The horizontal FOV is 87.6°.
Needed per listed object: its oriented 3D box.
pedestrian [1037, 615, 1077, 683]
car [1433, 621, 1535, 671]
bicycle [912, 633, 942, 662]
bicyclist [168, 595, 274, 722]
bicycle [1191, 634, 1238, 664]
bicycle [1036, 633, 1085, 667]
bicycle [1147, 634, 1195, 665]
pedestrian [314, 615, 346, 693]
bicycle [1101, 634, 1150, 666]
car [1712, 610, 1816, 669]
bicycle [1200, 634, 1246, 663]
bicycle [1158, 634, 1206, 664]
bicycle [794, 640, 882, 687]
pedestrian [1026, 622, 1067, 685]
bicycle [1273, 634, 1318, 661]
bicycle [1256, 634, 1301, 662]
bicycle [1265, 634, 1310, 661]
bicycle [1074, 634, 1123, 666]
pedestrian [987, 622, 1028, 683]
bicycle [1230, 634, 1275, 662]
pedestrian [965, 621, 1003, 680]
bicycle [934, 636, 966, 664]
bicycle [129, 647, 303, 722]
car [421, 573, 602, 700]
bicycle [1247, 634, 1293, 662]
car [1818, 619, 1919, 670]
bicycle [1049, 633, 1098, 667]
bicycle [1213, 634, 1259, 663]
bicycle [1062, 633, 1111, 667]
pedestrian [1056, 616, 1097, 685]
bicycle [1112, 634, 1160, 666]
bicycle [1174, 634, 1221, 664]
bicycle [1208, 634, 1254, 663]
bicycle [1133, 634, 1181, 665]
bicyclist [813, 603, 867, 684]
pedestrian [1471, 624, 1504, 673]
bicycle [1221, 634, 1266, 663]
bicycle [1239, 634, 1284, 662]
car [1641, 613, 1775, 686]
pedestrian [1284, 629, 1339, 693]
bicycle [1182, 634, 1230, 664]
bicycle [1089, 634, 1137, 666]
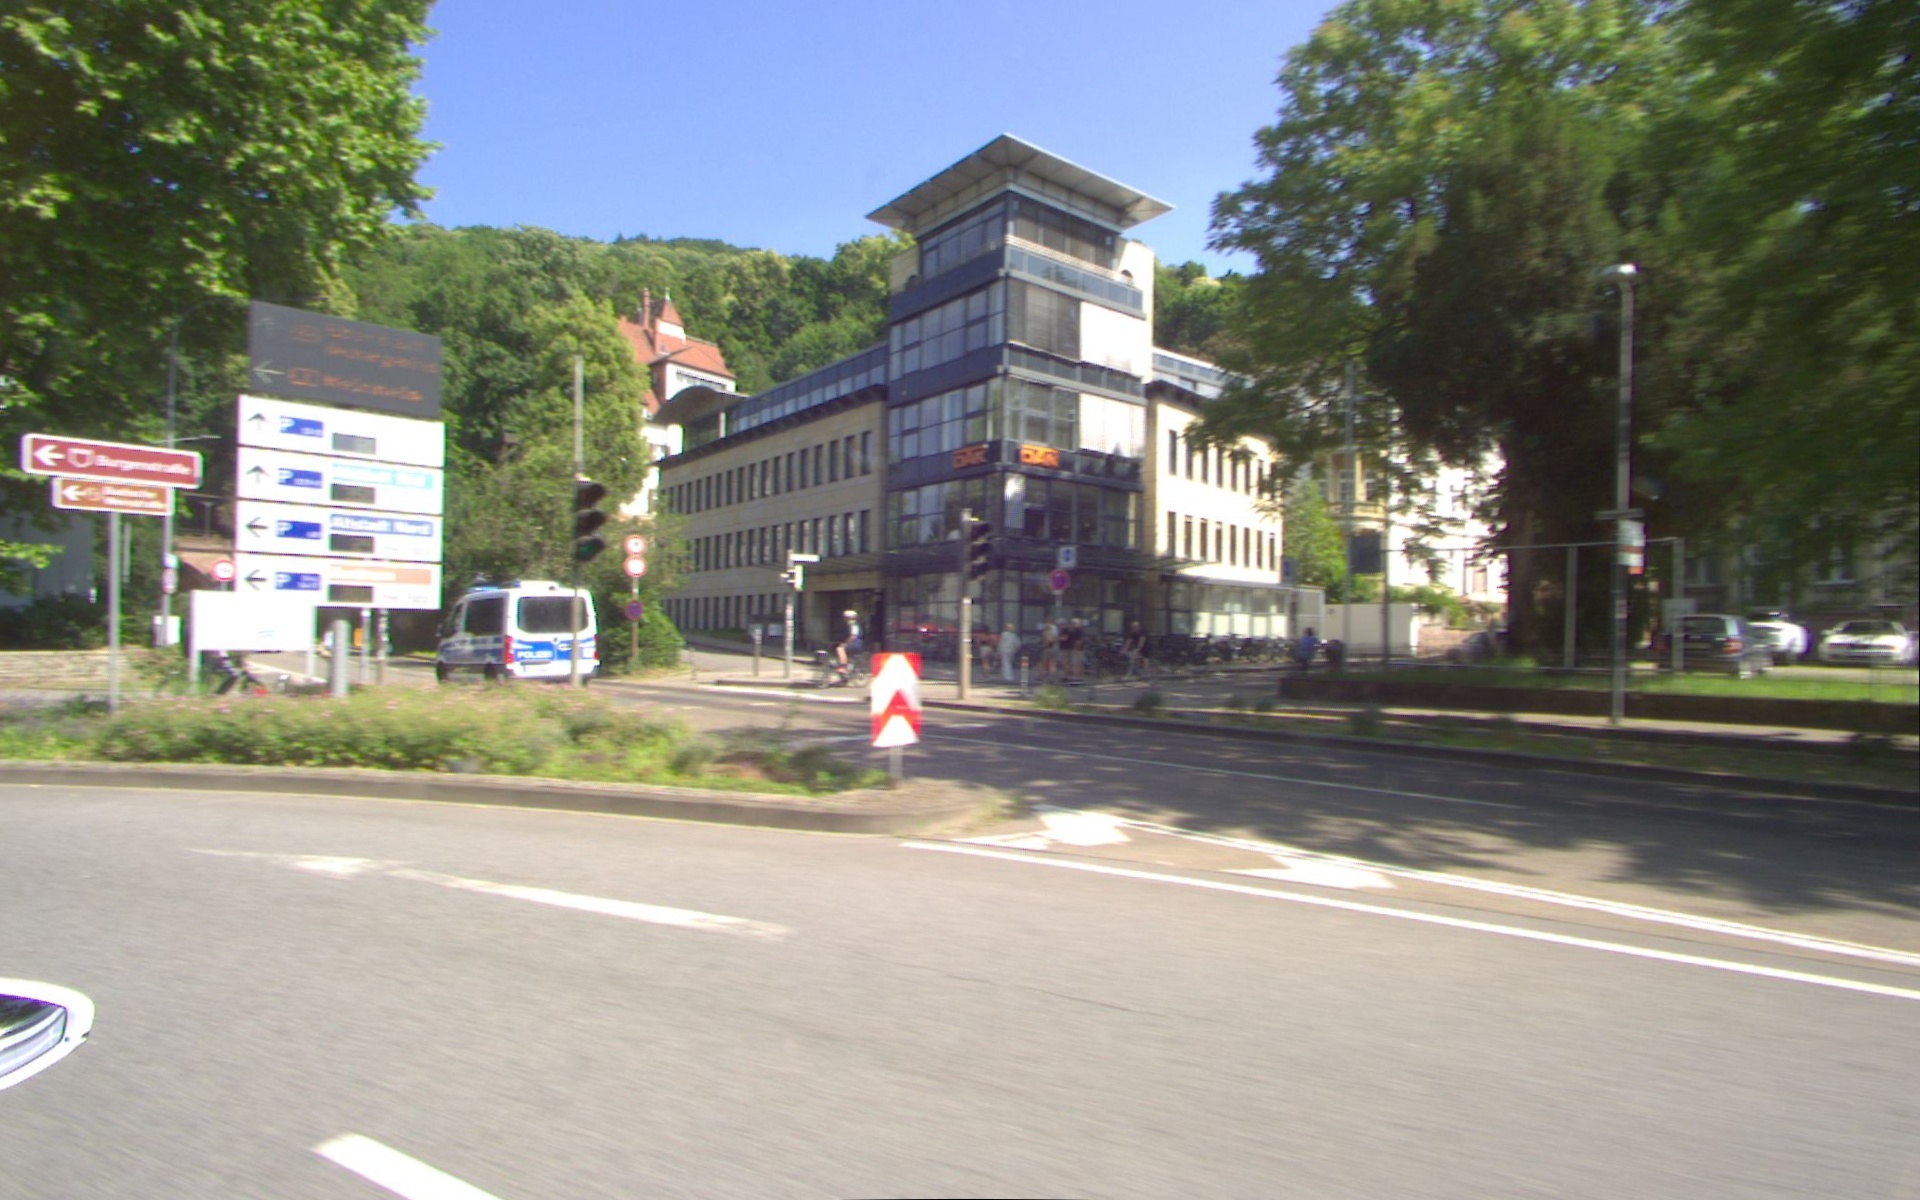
[{"bbox_3d":[2.741,1.374,28.286,0.763,1.878,0.824,2,-2,-34],"label":"pedestrian"},{"bbox_3d":[18.761,1.617,35.787,4.088,1.667,1.819,2,-1,-40],"label":"car"},{"bbox_3d":[-1.230,1.750,37.246,0.402,1.026,1.330,1,-1,-39],"label":"bicycle"},{"bbox_3d":[-11.693,0.924,15.885,1.109,1.957,0.747,1,-2,-15],"label":"bicyclist"},{"bbox_3d":[9.794,1.869,38.562,0.533,1.099,1.821,1,-1,-38],"label":"bicycle"},{"bbox_3d":[3.389,1.686,33.833,0.533,1.099,1.821,1,-1,-38],"label":"bicycle"},{"bbox_3d":[7.807,1.811,37.050,0.533,1.099,1.821,1,-1,-38],"label":"bicycle"},{"bbox_3d":[-13.583,1.158,21.604,0.541,1.642,0.631,1,0,-31],"label":"pedestrian"},{"bbox_3d":[5.878,1.756,35.636,0.533,1.099,1.821,1,-1,-38],"label":"bicycle"},{"bbox_3d":[23.984,1.163,29.803,4.278,1.624,1.805,2,-2,-43],"label":"car"},{"bbox_3d":[10.227,1.885,38.976,0.533,1.099,1.821,1,-1,-38],"label":"bicycle"},{"bbox_3d":[8.301,1.827,37.459,0.533,1.099,1.821,1,-1,-38],"label":"bicycle"},{"bbox_3d":[-3.042,1.581,24.985,2.052,1.127,0.753,2,-2,-28],"label":"bicycle"},{"bbox_3d":[2.377,1.463,27.454,0.764,1.684,0.824,2,-2,-35],"label":"pedestrian"},{"bbox_3d":[14.243,2.023,42.591,0.533,1.099,1.821,1,-1,-38],"label":"bicycle"},{"bbox_3d":[13.282,1.994,41.838,0.533,1.099,1.821,1,-1,-38],"label":"bicycle"},{"bbox_3d":[13.771,2.008,42.182,0.533,1.099,1.821,1,-1,-38],"label":"bicycle"},{"bbox_3d":[4.812,1.728,34.909,0.533,1.099,1.821,1,-1,-38],"label":"bicycle"},{"bbox_3d":[1.335,1.465,28.125,0.764,1.684,0.823,2,-2,-37],"label":"pedestrian"},{"bbox_3d":[11.897,1.952,40.747,0.533,1.099,1.821,1,-1,-38],"label":"bicycle"},{"bbox_3d":[0.696,1.470,29.106,0.764,1.684,0.824,2,-2,-35],"label":"pedestrian"},{"bbox_3d":[-0.351,1.771,35.861,0.402,0.953,1.330,1,-1,-39],"label":"bicycle"},{"bbox_3d":[-11.732,1.332,15.871,2.046,1.127,0.756,1,-1,-15],"label":"bicycle"},{"bbox_3d":[-10.112,0.820,22.383,2.061,2.540,4.880,3,-3,-45],"label":"car"},{"bbox_3d":[12.831,1.981,41.495,0.533,1.099,1.821,1,-1,-38],"label":"bicycle"},{"bbox_3d":[25.945,1.242,28.547,4.013,1.353,1.805,2,-2,-43],"label":"car"},{"bbox_3d":[3.851,1.698,34.143,0.533,1.099,1.821,1,-1,-38],"label":"bicycle"},{"bbox_3d":[10.991,1.921,39.944,0.533,1.099,1.821,1,-1,-38],"label":"bicycle"},{"bbox_3d":[4.355,1.713,34.535,0.533,1.099,1.821,1,-1,-38],"label":"bicycle"},{"bbox_3d":[3.204,1.382,27.601,0.763,1.878,0.824,2,-2,-34],"label":"pedestrian"},{"bbox_3d":[6.328,1.771,36.023,0.533,1.099,1.821,1,-1,-38],"label":"bicycle"},{"bbox_3d":[8.936,1.838,37.731,0.533,1.099,1.821,1,-1,-38],"label":"bicycle"},{"bbox_3d":[10.655,1.902,39.419,0.533,1.099,1.821,1,-1,-38],"label":"bicycle"},{"bbox_3d":[7.238,1.802,36.837,0.533,1.099,1.821,1,-1,-38],"label":"bicycle"},{"bbox_3d":[-2.996,1.088,25.015,1.113,1.957,0.745,2,-2,-27],"label":"bicyclist"},{"bbox_3d":[17.192,1.562,32.655,0.659,1.566,0.764,1,-1,-38],"label":"pedestrian"},{"bbox_3d":[11.413,1.938,40.370,0.533,1.099,1.821,1,-1,-38],"label":"bicycle"},{"bbox_3d":[12.381,1.967,41.130,0.533,1.099,1.821,1,-1,-38],"label":"bicycle"},{"bbox_3d":[16.944,1.080,22.616,4.118,1.494,1.859,2,-2,-45],"label":"car"},{"bbox_3d":[8.884,1.528,25.318,1.106,1.601,0.738,1,-1,-27],"label":"pedestrian"},{"bbox_3d":[9.358,1.854,38.163,0.533,1.099,1.821,1,-1,-38],"label":"bicycle"},{"bbox_3d":[5.359,1.739,35.207,0.533,1.099,1.821,1,-1,-38],"label":"bicycle"}]
